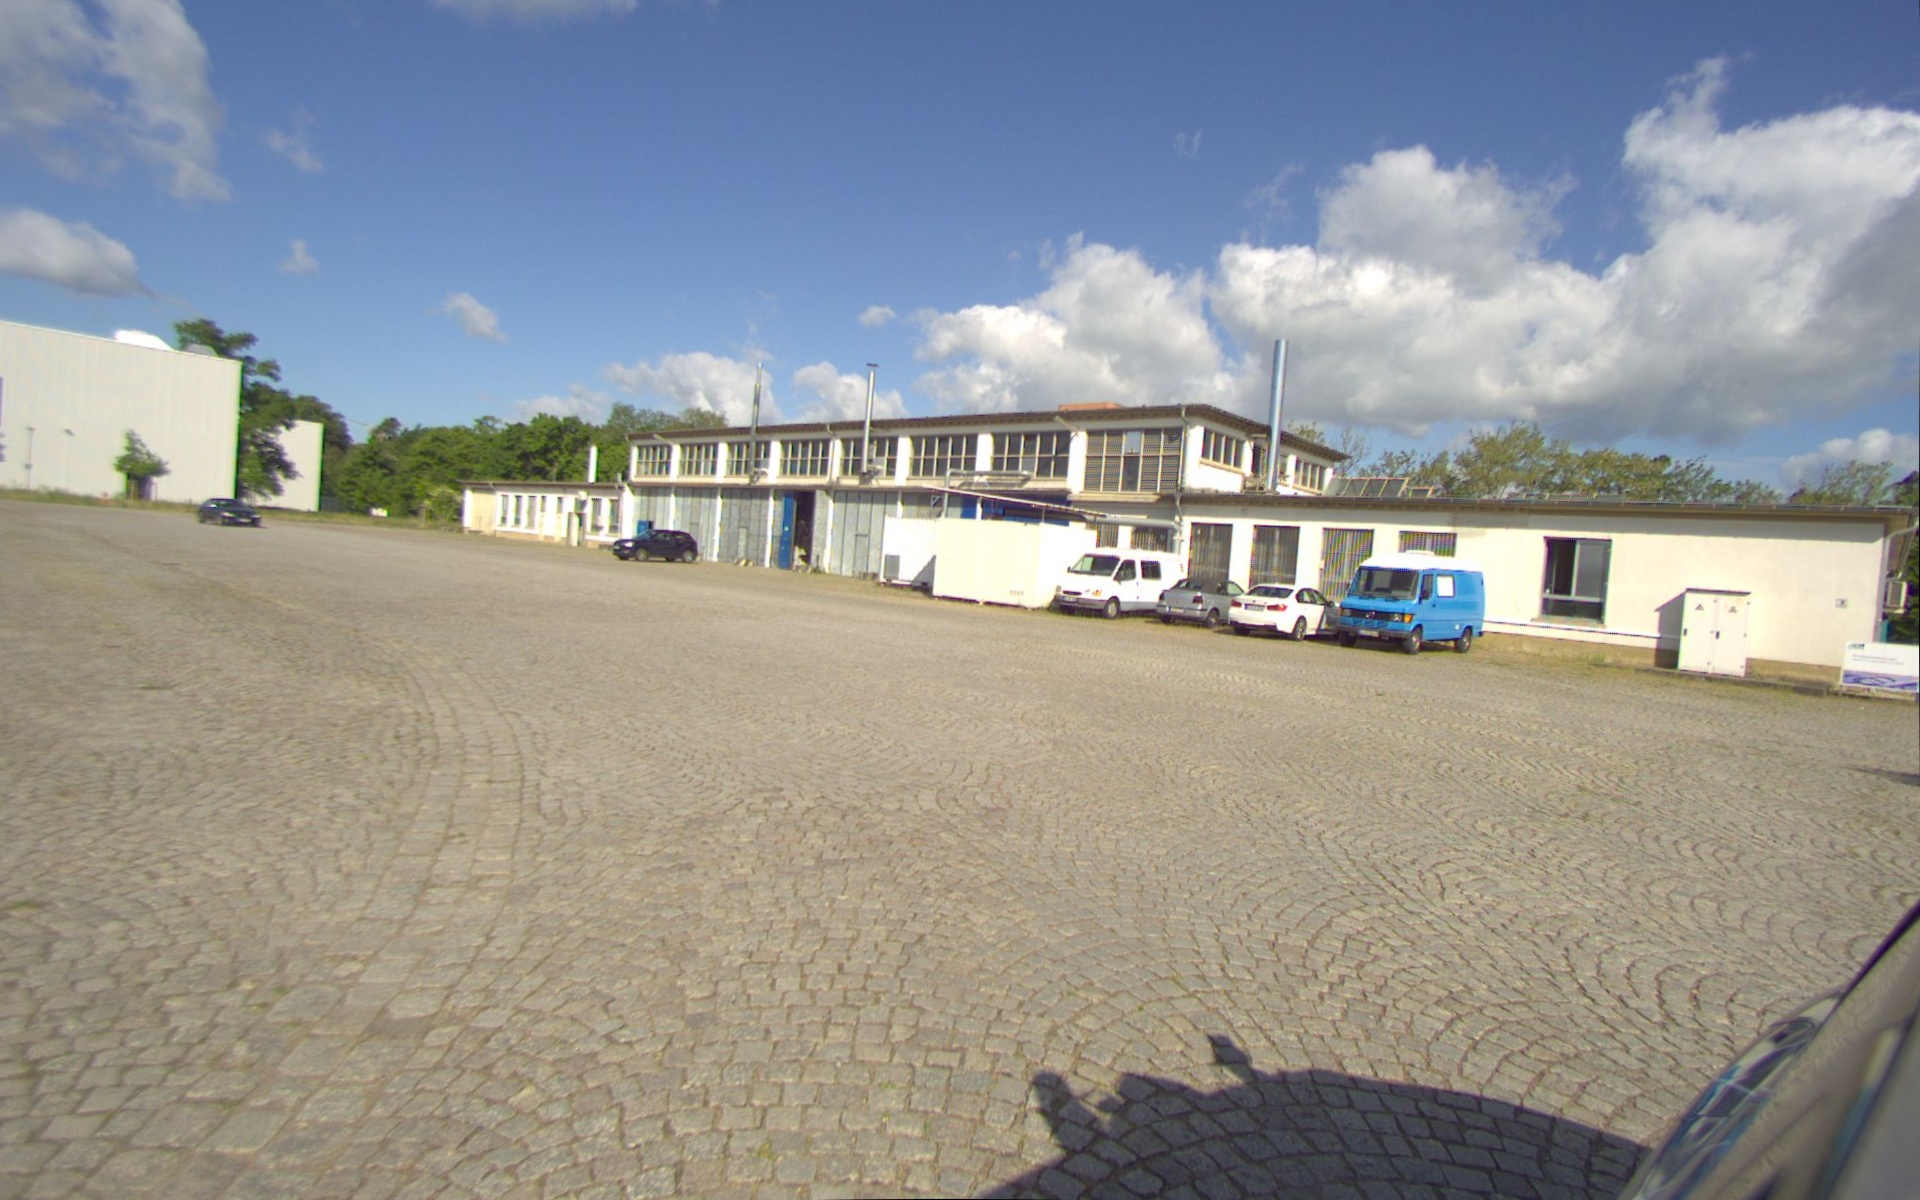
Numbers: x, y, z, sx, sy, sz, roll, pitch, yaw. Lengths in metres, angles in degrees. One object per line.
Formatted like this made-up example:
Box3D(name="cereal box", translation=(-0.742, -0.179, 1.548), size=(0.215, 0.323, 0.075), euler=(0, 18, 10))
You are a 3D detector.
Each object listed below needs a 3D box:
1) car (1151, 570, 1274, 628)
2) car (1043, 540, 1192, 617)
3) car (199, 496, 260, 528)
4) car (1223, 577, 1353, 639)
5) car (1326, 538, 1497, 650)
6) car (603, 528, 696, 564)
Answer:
Box3D(name="car", translation=(7.425, -0.011, 29.590), size=(3.768, 1.415, 1.689), euler=(3, 3, -45))
Box3D(name="car", translation=(4.922, -0.632, 31.217), size=(4.725, 2.106, 2.006), euler=(1, 3, -44))
Box3D(name="car", translation=(-38.552, -4.659, 53.390), size=(4.062, 1.446, 1.714), euler=(6, 3, 42))
Box3D(name="car", translation=(8.772, 0.197, 26.972), size=(3.677, 1.422, 1.734), euler=(1, 4, -45))
Box3D(name="car", translation=(11.630, -0.132, 25.893), size=(5.152, 2.513, 2.086), euler=(1, 3, -44))
Box3D(name="car", translation=(-15.221, -2.641, 49.792), size=(1.735, 1.487, 4.015), euler=(6, 3, 41))
